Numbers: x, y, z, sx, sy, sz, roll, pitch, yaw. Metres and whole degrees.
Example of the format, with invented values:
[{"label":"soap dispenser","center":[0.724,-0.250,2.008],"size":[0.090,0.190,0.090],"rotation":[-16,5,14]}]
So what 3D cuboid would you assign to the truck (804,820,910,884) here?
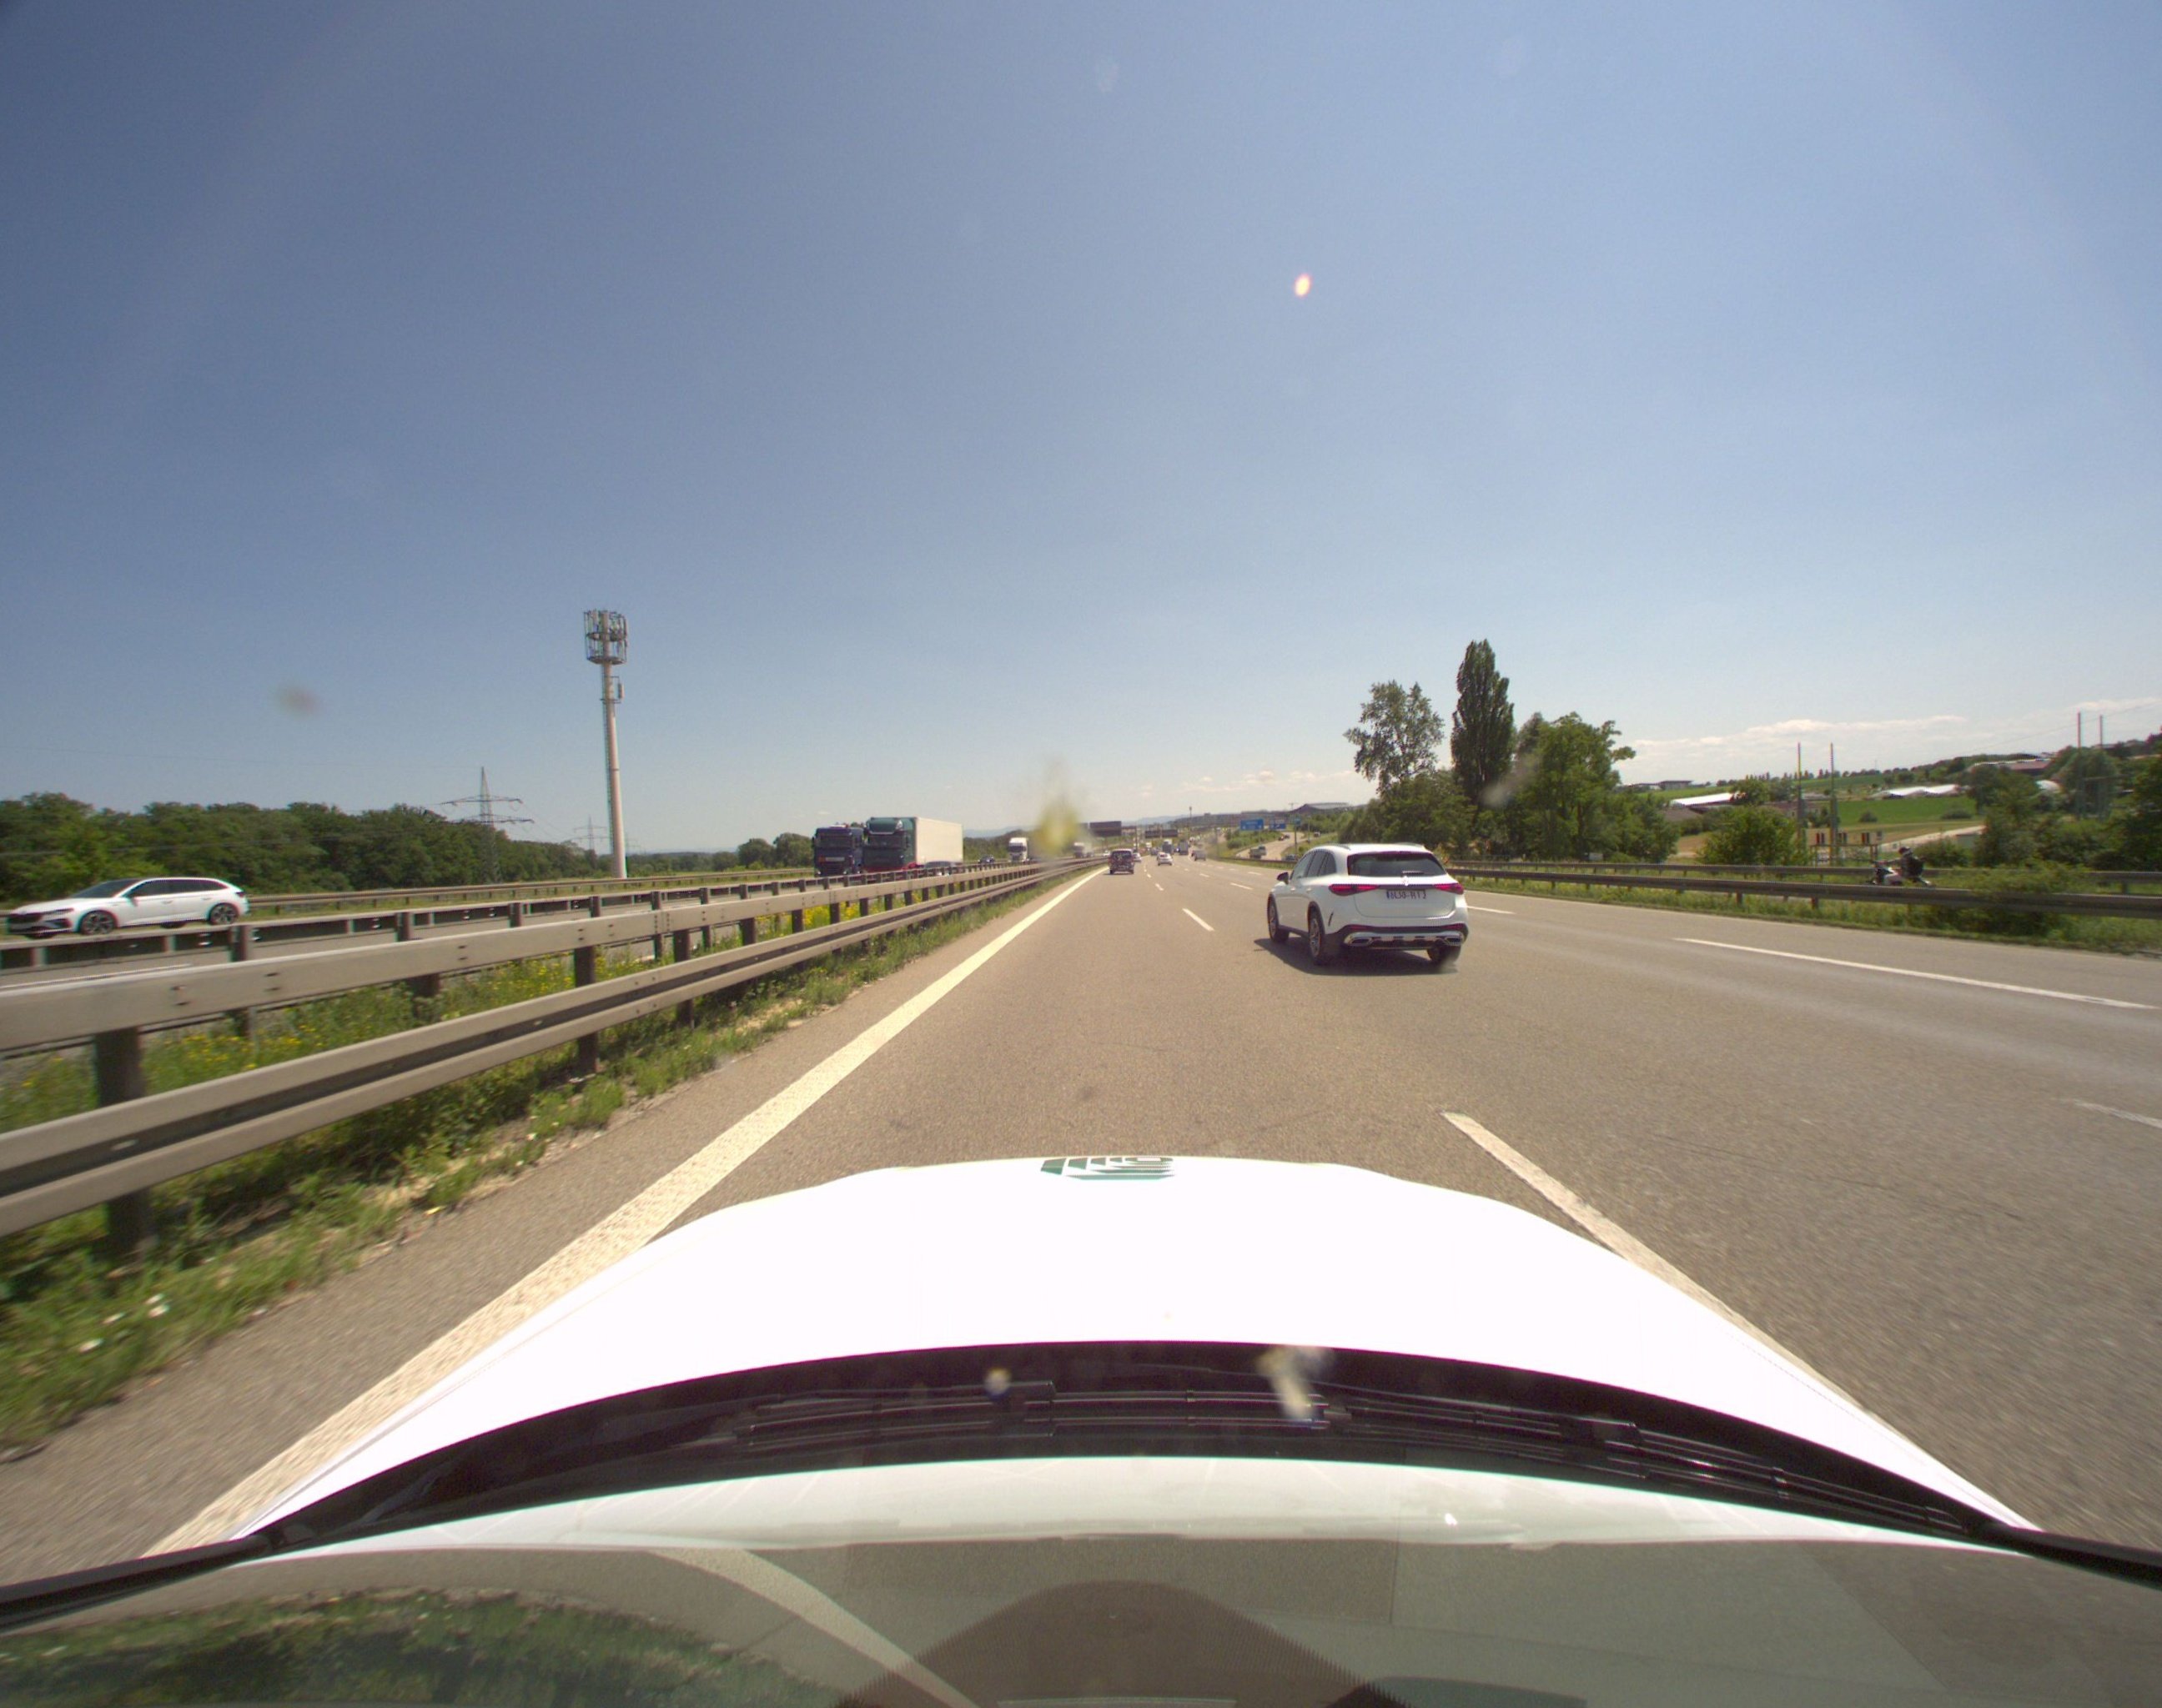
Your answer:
[{"label":"truck","center":[-14.930,-0.139,55.762],"size":[3.206,3.785,12.908],"rotation":[-1,0,2]}]

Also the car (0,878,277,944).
[{"label":"car","center":[-24.910,1.435,21.846],"size":[1.510,1.401,4.807],"rotation":[-1,0,7]}]

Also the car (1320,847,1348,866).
[{"label":"car","center":[27.602,0.269,88.977],"size":[1.931,1.923,4.182],"rotation":[-1,0,2]}]

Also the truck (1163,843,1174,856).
[{"label":"truck","center":[22.826,-1.138,213.171],"size":[2.688,3.108,10.679],"rotation":[-1,0,7]}]

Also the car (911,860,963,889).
[{"label":"car","center":[-7.451,1.016,42.528],"size":[1.797,1.390,4.293],"rotation":[-1,0,2]}]

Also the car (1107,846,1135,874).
[{"label":"car","center":[2.973,0.433,60.294],"size":[1.919,1.919,4.951],"rotation":[-1,0,3]}]

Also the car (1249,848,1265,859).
[{"label":"car","center":[33.110,-0.158,153.275],"size":[1.989,2.014,3.995],"rotation":[-1,0,-3]}]

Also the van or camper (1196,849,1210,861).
[{"label":"van or camper","center":[21.520,0.128,144.043],"size":[2.145,2.014,4.311],"rotation":[-1,0,6]}]

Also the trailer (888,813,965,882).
[{"label":"trailer","center":[-10.712,-0.392,57.730],"size":[2.943,4.372,10.738],"rotation":[-1,0,2]}]

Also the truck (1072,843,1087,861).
[{"label":"truck","center":[-0.415,-0.443,203.246],"size":[3.020,4.240,6.695],"rotation":[-1,0,6]}]

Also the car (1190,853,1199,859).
[{"label":"car","center":[29.574,0.525,212.739],"size":[1.984,1.690,4.005],"rotation":[-1,0,5]}]

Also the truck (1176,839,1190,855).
[{"label":"truck","center":[30.117,-1.989,239.914],"size":[4.016,4.261,11.786],"rotation":[-1,2,8]}]

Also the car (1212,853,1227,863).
[{"label":"car","center":[24.210,0.769,142.404],"size":[1.987,1.690,4.000],"rotation":[-1,0,1]}]

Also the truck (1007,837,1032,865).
[{"label":"truck","center":[-9.310,-0.419,123.409],"size":[2.868,4.117,6.391],"rotation":[-1,0,4]}]

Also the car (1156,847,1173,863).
[{"label":"car","center":[10.228,0.149,100.014],"size":[1.918,1.919,4.522],"rotation":[-1,0,4]}]

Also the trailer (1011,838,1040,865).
[{"label":"trailer","center":[-8.787,-0.408,130.705],"size":[2.877,4.113,12.599],"rotation":[-1,0,4]}]

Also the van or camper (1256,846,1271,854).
[{"label":"van or camper","center":[45.617,-1.035,203.524],"size":[2.524,2.014,4.453],"rotation":[-1,0,-5]}]

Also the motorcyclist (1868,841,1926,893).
[{"label":"motorcyclist","center":[21.996,0.336,21.972],"size":[0.666,1.366,0.879],"rotation":[-1,-1,2]}]

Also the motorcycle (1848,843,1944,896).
[{"label":"motorcycle","center":[22.011,0.410,22.049],"size":[0.757,1.366,1.870],"rotation":[-1,0,2]}]

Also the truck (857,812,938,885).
[{"label":"truck","center":[-11.061,-0.299,49.952],"size":[2.955,4.120,7.602],"rotation":[-1,0,2]}]

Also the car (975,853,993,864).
[{"label":"car","center":[-13.934,0.647,117.648],"size":[1.870,1.613,4.004],"rotation":[-1,0,3]}]

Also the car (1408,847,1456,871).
[{"label":"car","center":[24.538,0.348,57.128],"size":[1.693,1.575,4.130],"rotation":[-1,0,2]}]

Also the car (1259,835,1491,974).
[{"label":"car","center":[4.079,0.616,12.292],"size":[1.890,1.647,5.002],"rotation":[-1,0,3]}]

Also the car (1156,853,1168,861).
[{"label":"car","center":[15.414,0.504,154.752],"size":[1.969,1.473,4.012],"rotation":[-2,0,10]}]

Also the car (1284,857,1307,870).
[{"label":"car","center":[28.748,1.242,109.339],"size":[1.988,1.596,3.997],"rotation":[-1,0,-2]}]

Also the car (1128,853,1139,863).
[{"label":"car","center":[8.398,0.578,130.107],"size":[1.569,1.552,3.968],"rotation":[-1,0,4]}]

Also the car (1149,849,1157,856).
[{"label":"car","center":[20.138,-0.483,228.710],"size":[2.176,2.003,4.006],"rotation":[-1,0,5]}]
